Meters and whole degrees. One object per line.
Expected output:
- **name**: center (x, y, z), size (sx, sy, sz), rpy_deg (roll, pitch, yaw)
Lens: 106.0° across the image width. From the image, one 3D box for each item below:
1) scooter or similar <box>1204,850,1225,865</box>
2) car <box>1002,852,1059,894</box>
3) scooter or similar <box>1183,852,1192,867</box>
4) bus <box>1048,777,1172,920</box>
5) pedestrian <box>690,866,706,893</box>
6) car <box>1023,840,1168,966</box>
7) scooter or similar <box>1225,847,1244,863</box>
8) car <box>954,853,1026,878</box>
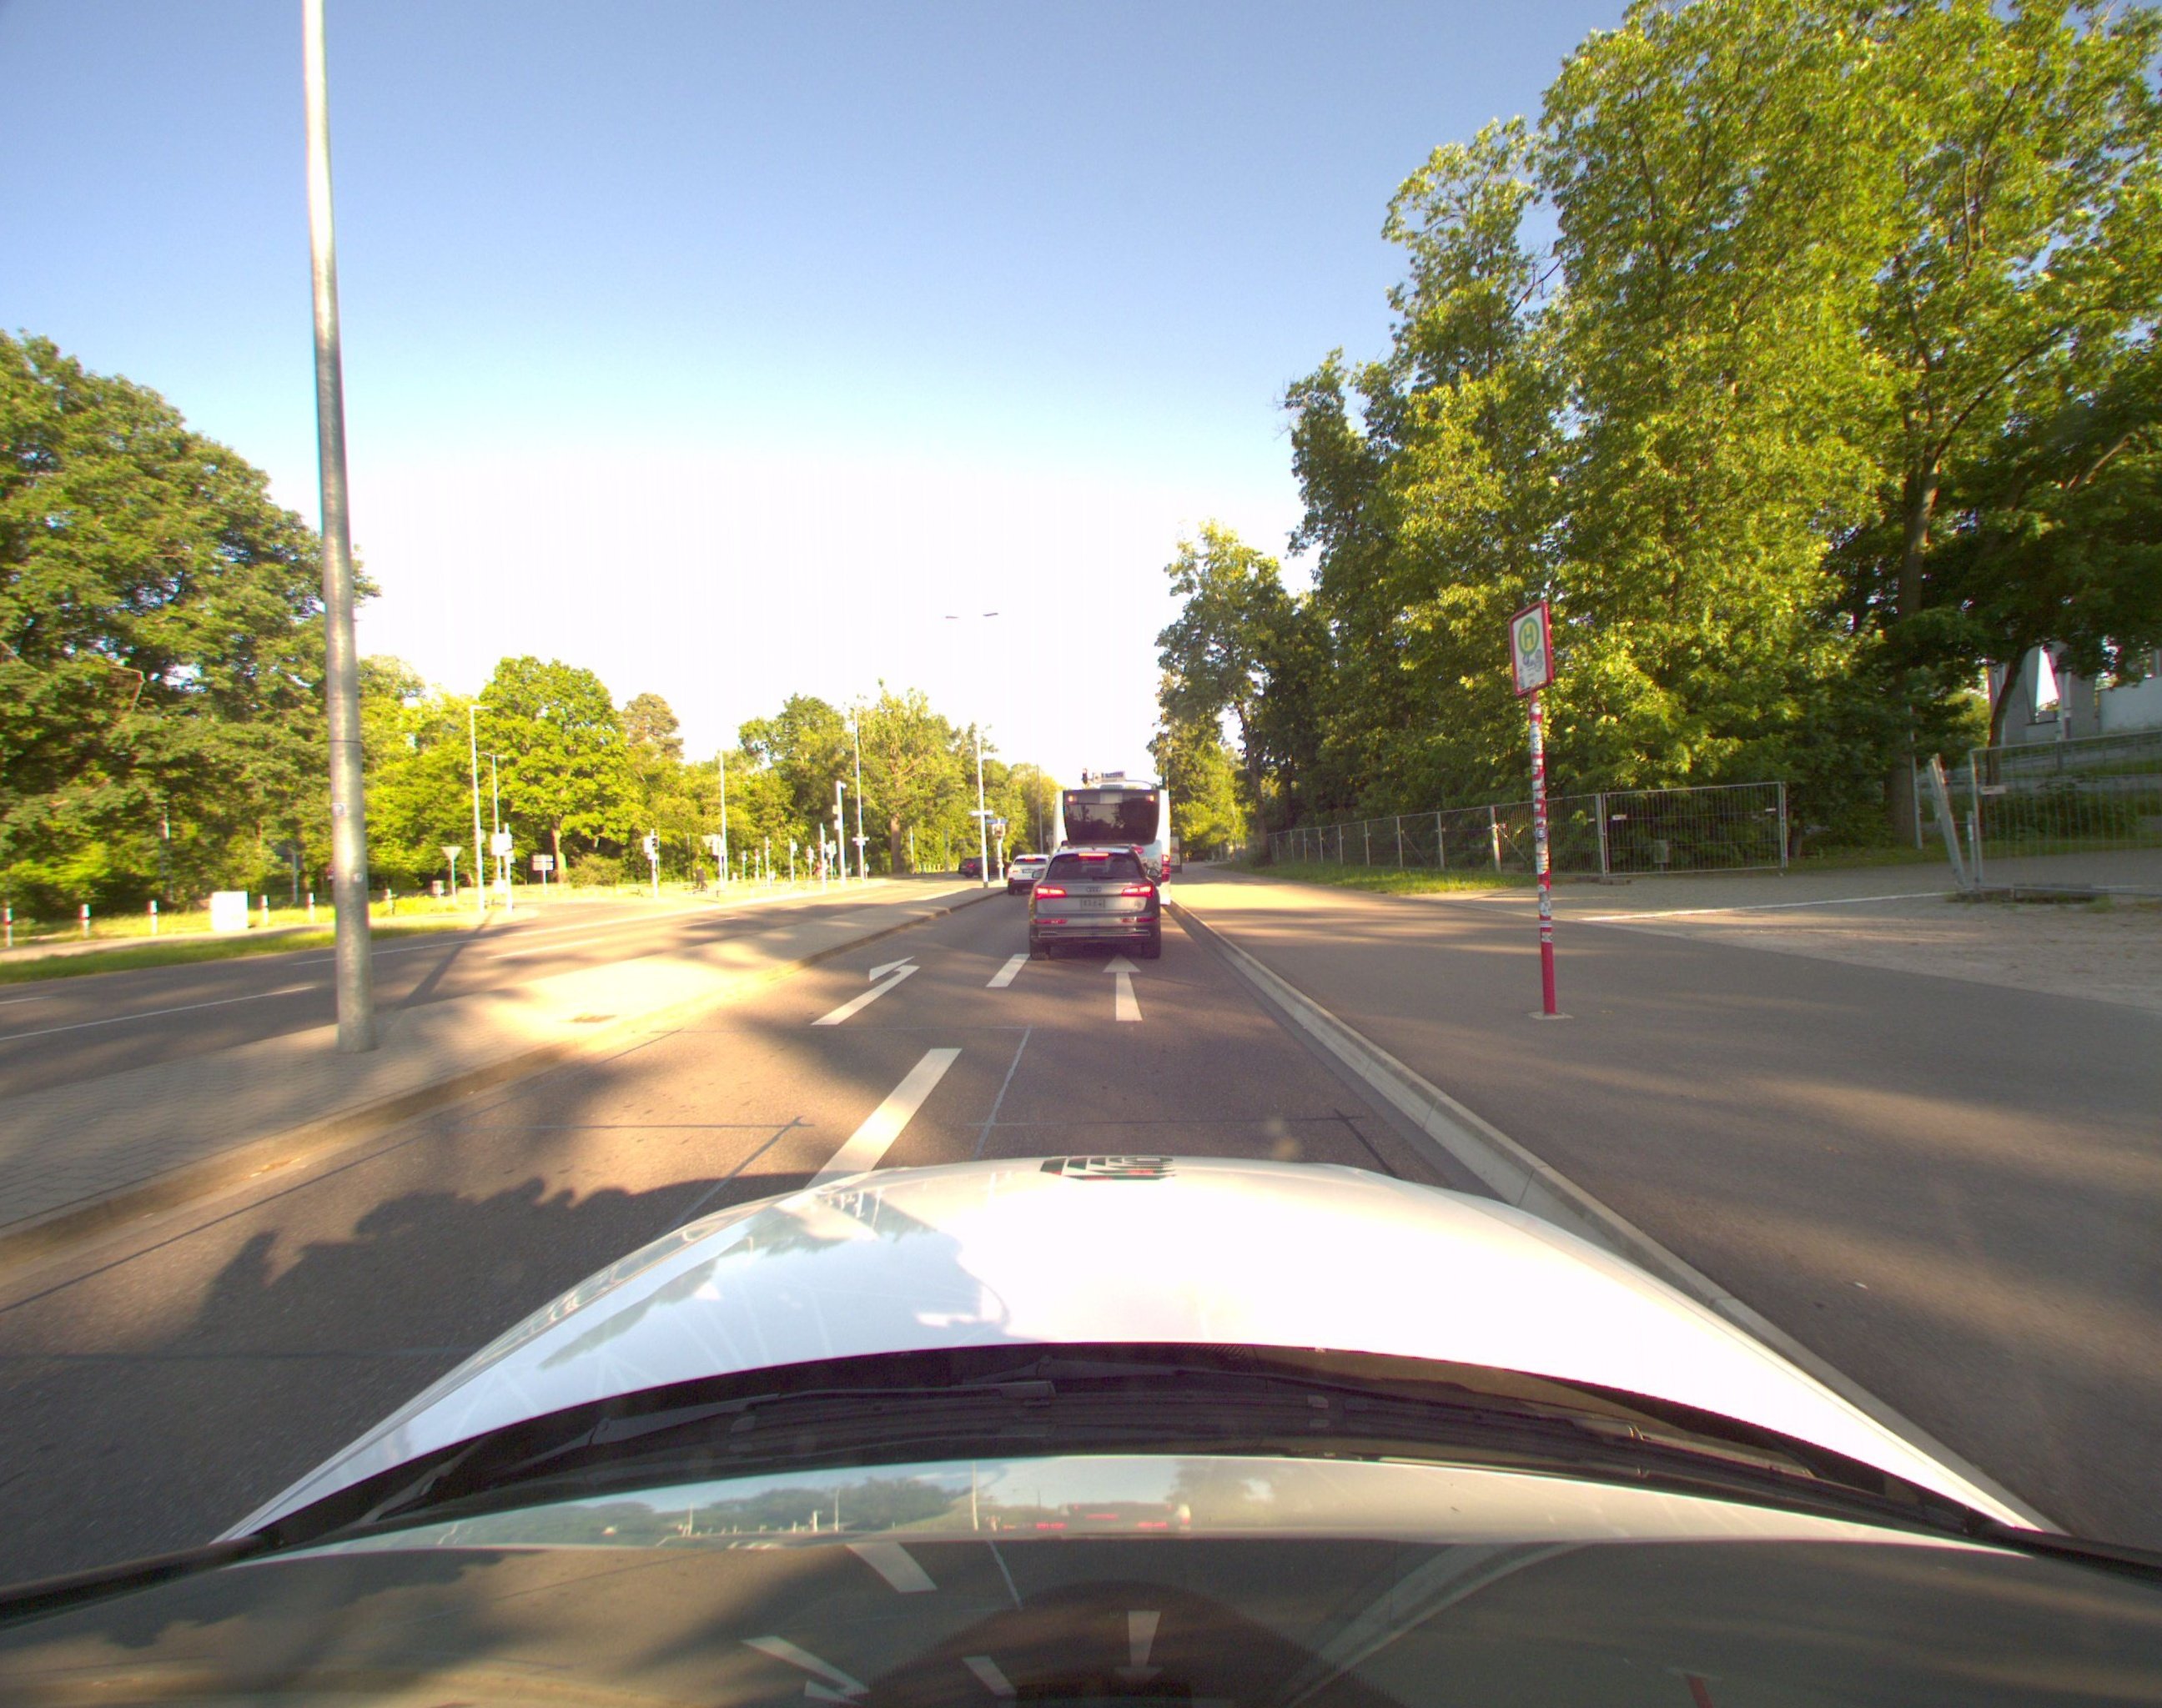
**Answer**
- **scooter or similar**: center (13.586, 0.337, 82.880), size (2.025, 1.444, 0.601), rpy_deg (-3, 0, -23)
- **car**: center (-1.961, 0.713, 32.650), size (1.829, 1.518, 4.002), rpy_deg (-2, 0, 2)
- **scooter or similar**: center (11.201, 0.582, 85.532), size (0.507, 1.444, 2.020), rpy_deg (-3, 0, -3)
- **bus**: center (0.768, -0.082, 21.929), size (2.585, 2.989, 9.330), rpy_deg (-1, -1, 2)
- **pedestrian**: center (-22.506, 1.504, 47.882), size (0.652, 1.560, 0.533), rpy_deg (-3, 0, -41)
- **car**: center (0.257, 0.638, 12.721), size (1.891, 1.632, 4.002), rpy_deg (-1, 0, 2)
- **scooter or similar**: center (15.849, 0.120, 84.116), size (0.543, 1.567, 1.999), rpy_deg (-3, 0, -37)
- **car**: center (-6.562, 0.805, 58.804), size (4.814, 1.498, 1.976), rpy_deg (-3, 0, -40)
